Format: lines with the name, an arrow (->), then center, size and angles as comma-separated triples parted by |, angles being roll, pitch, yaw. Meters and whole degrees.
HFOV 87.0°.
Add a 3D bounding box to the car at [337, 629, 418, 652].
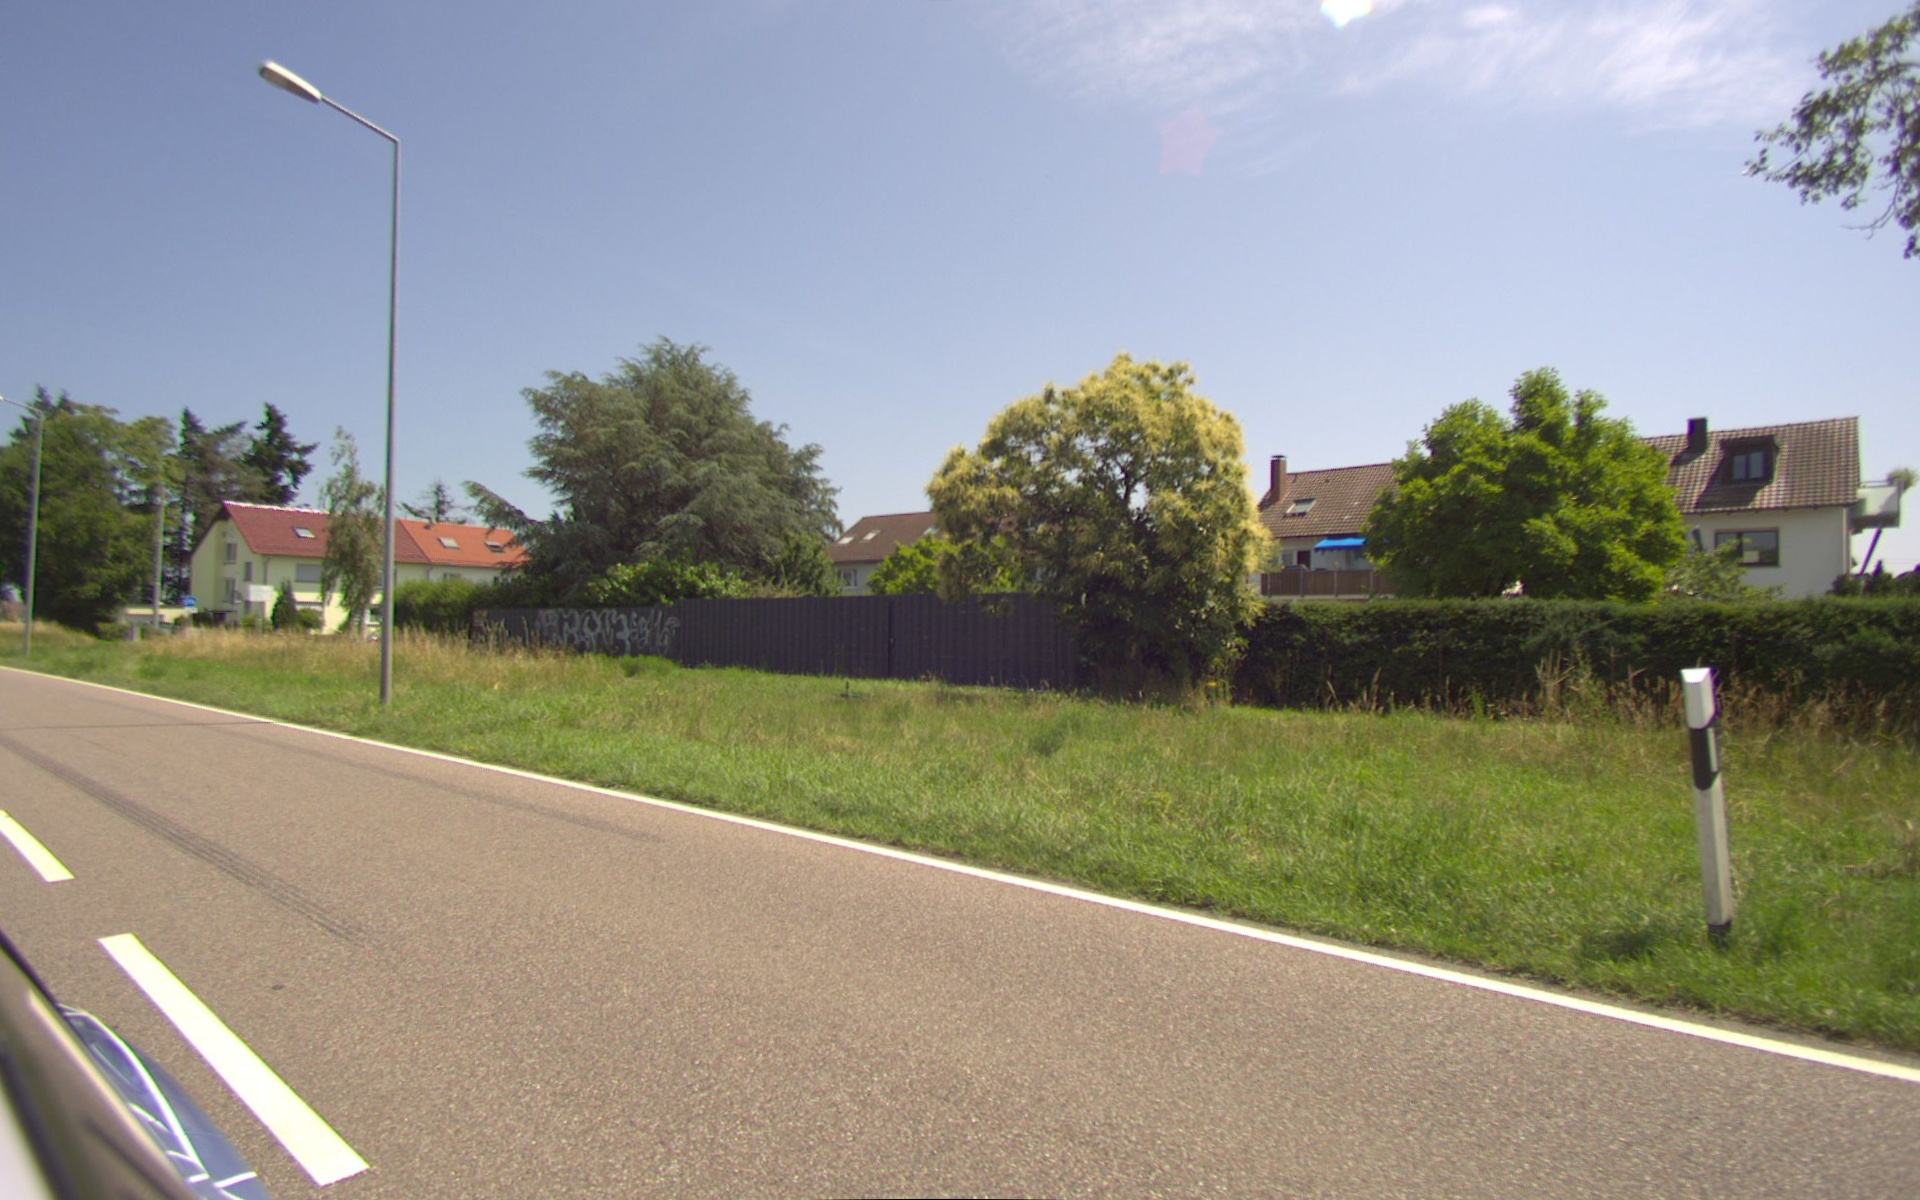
car -> -36.499, 2.515, 63.504 | 1.995, 1.364, 3.954 | -1, -1, 34
